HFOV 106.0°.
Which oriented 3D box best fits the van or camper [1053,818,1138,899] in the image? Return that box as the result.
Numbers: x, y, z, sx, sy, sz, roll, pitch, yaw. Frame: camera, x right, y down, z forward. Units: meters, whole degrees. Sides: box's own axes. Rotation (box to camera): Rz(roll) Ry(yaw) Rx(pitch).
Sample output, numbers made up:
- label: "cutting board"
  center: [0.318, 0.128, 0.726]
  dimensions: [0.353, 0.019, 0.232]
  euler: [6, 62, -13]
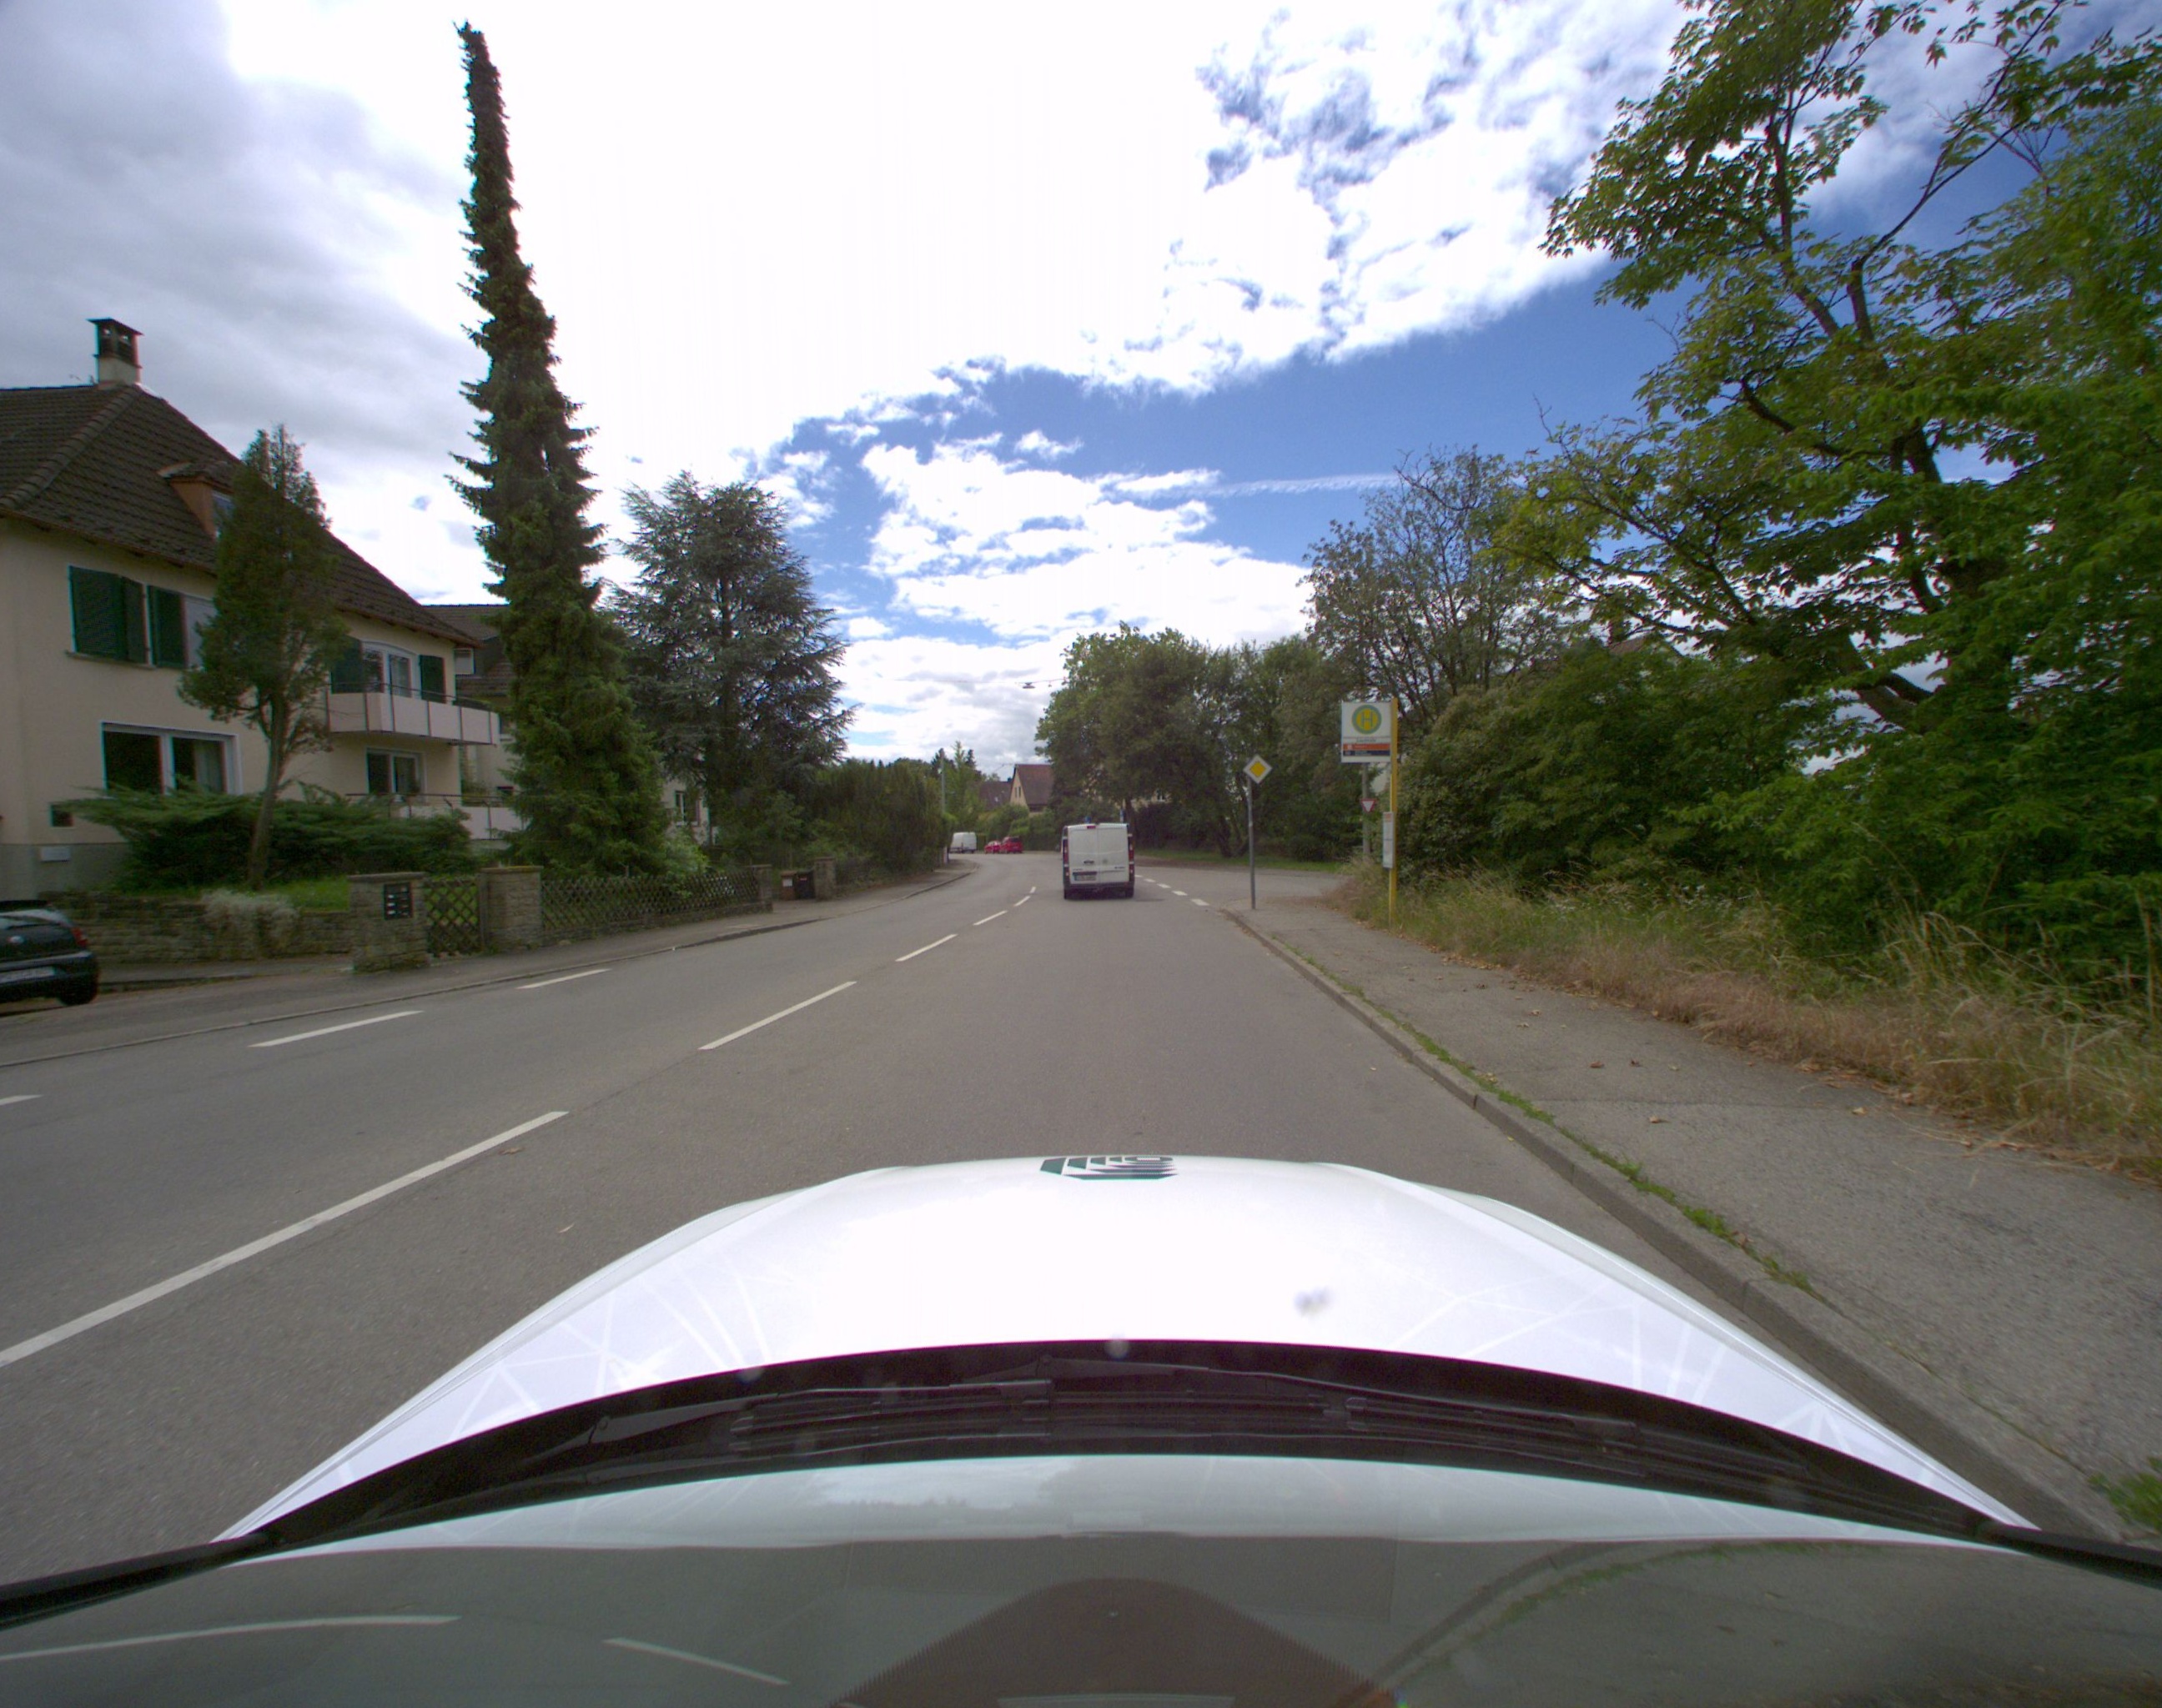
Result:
- label: "van or camper"
  center: [0.284, 0.001, 22.769]
  dimensions: [1.921, 2.013, 4.823]
  euler: [-1, 3, -4]

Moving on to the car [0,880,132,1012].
- label: "car"
  center: [-14.951, 1.338, 10.576]
  dimensions: [3.334, 1.537, 1.835]
  euler: [-6, 2, 10]

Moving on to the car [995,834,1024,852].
- label: "car"
  center: [-7.496, -1.130, 84.933]
  dimensions: [1.767, 1.797, 4.913]
  euler: [-2, 1, -21]

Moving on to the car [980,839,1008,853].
- label: "car"
  center: [-9.653, -0.912, 89.994]
  dimensions: [1.721, 1.467, 4.233]
  euler: [-2, 1, -25]

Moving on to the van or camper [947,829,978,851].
- label: "van or camper"
  center: [-14.941, -1.777, 102.493]
  dimensions: [2.077, 2.674, 6.277]
  euler: [-2, 2, -25]
